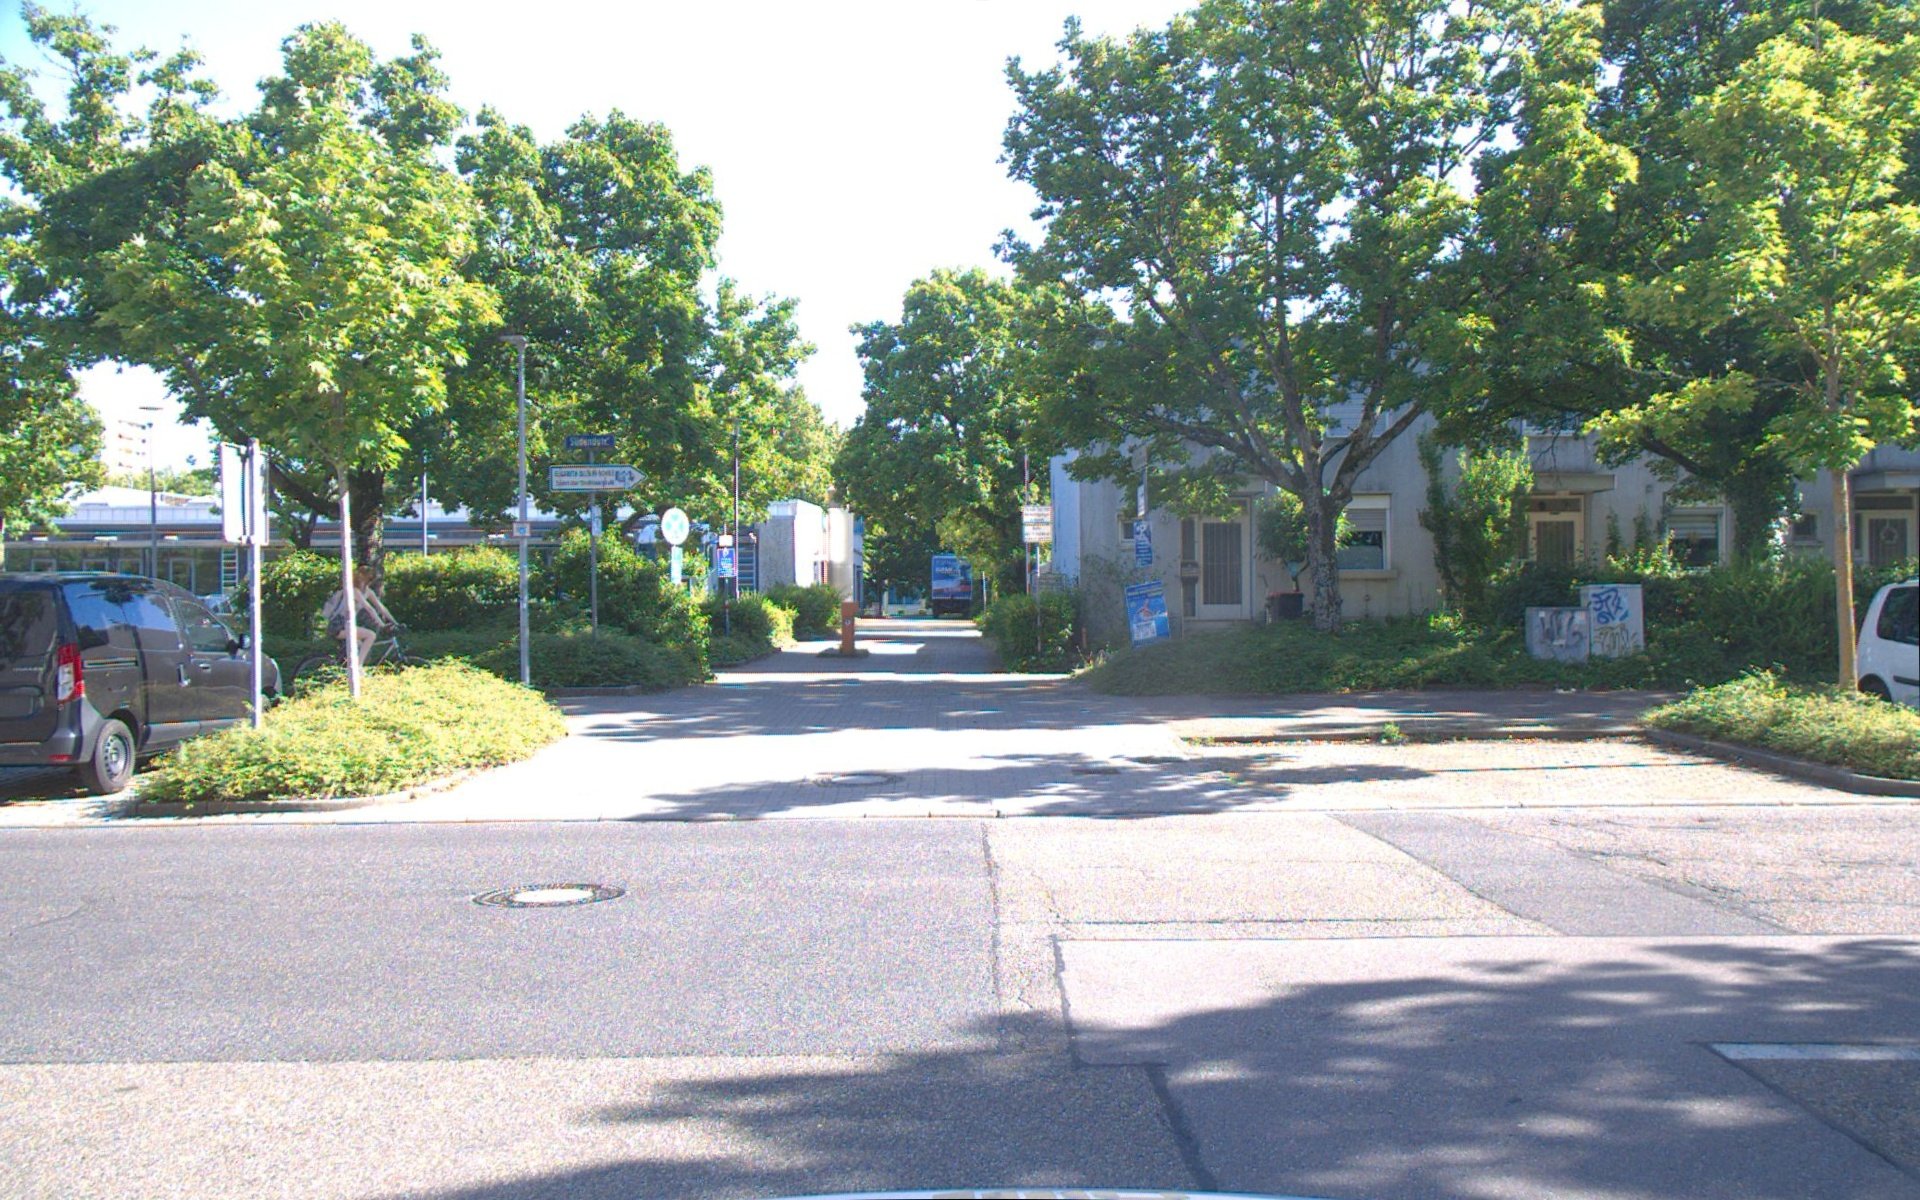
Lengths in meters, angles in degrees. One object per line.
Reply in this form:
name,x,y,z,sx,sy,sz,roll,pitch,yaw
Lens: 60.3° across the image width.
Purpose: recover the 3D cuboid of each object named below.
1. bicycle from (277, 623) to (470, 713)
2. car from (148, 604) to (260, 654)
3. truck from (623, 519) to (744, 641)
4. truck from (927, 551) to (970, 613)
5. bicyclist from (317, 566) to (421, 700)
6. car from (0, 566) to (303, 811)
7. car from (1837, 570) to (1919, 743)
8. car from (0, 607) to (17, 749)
bicycle,-6.873,0.787,19.430,2.039,1.013,0.596,1,0,-1
car,-24.785,0.917,54.379,1.798,1.524,3.909,-1,1,2
truck,-9.257,-0.667,56.140,2.744,3.873,6.926,0,0,1
truck,-0.722,-1.183,109.768,2.703,3.937,9.329,0,0,0
bicyclist,-6.934,0.380,19.434,0.990,1.550,0.596,0,0,0
car,-7.745,0.660,15.046,1.835,1.878,4.169,-1,2,0
car,10.045,0.553,15.078,1.786,1.625,4.167,-1,1,-2
car,-10.603,0.861,15.007,1.786,1.430,4.167,-1,2,-2
